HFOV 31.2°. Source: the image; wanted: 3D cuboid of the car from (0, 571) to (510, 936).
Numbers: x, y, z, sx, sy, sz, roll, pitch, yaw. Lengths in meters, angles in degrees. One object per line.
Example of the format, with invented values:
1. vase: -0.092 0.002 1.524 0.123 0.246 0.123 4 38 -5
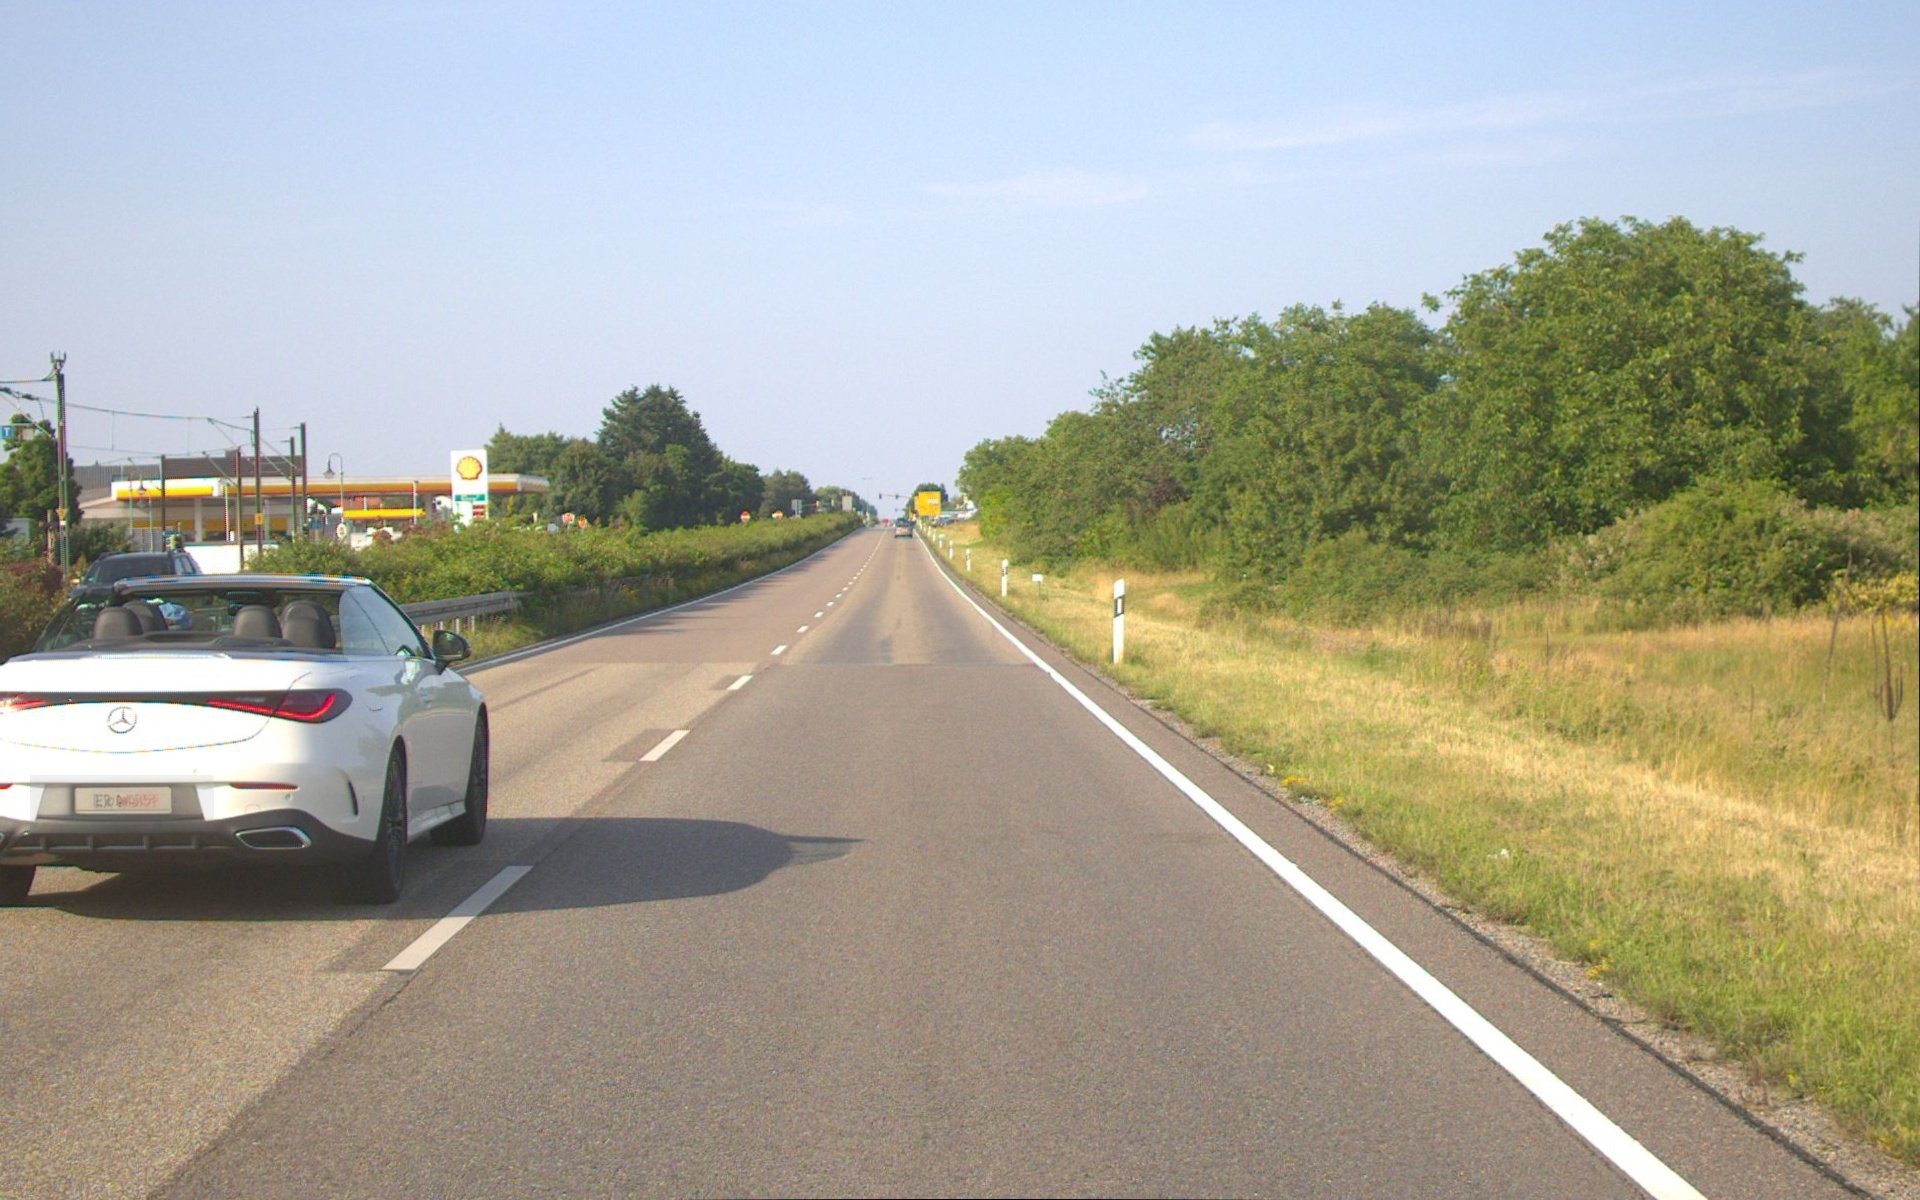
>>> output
1. car: -3.233 0.566 15.603 1.771 1.333 4.950 1 1 -1

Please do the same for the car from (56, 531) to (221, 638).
1. car: -13.762 -0.285 57.832 1.729 1.628 4.320 -3 1 -1

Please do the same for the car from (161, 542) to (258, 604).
1. car: -21.604 -0.795 99.068 1.993 1.744 4.000 1 1 -1
